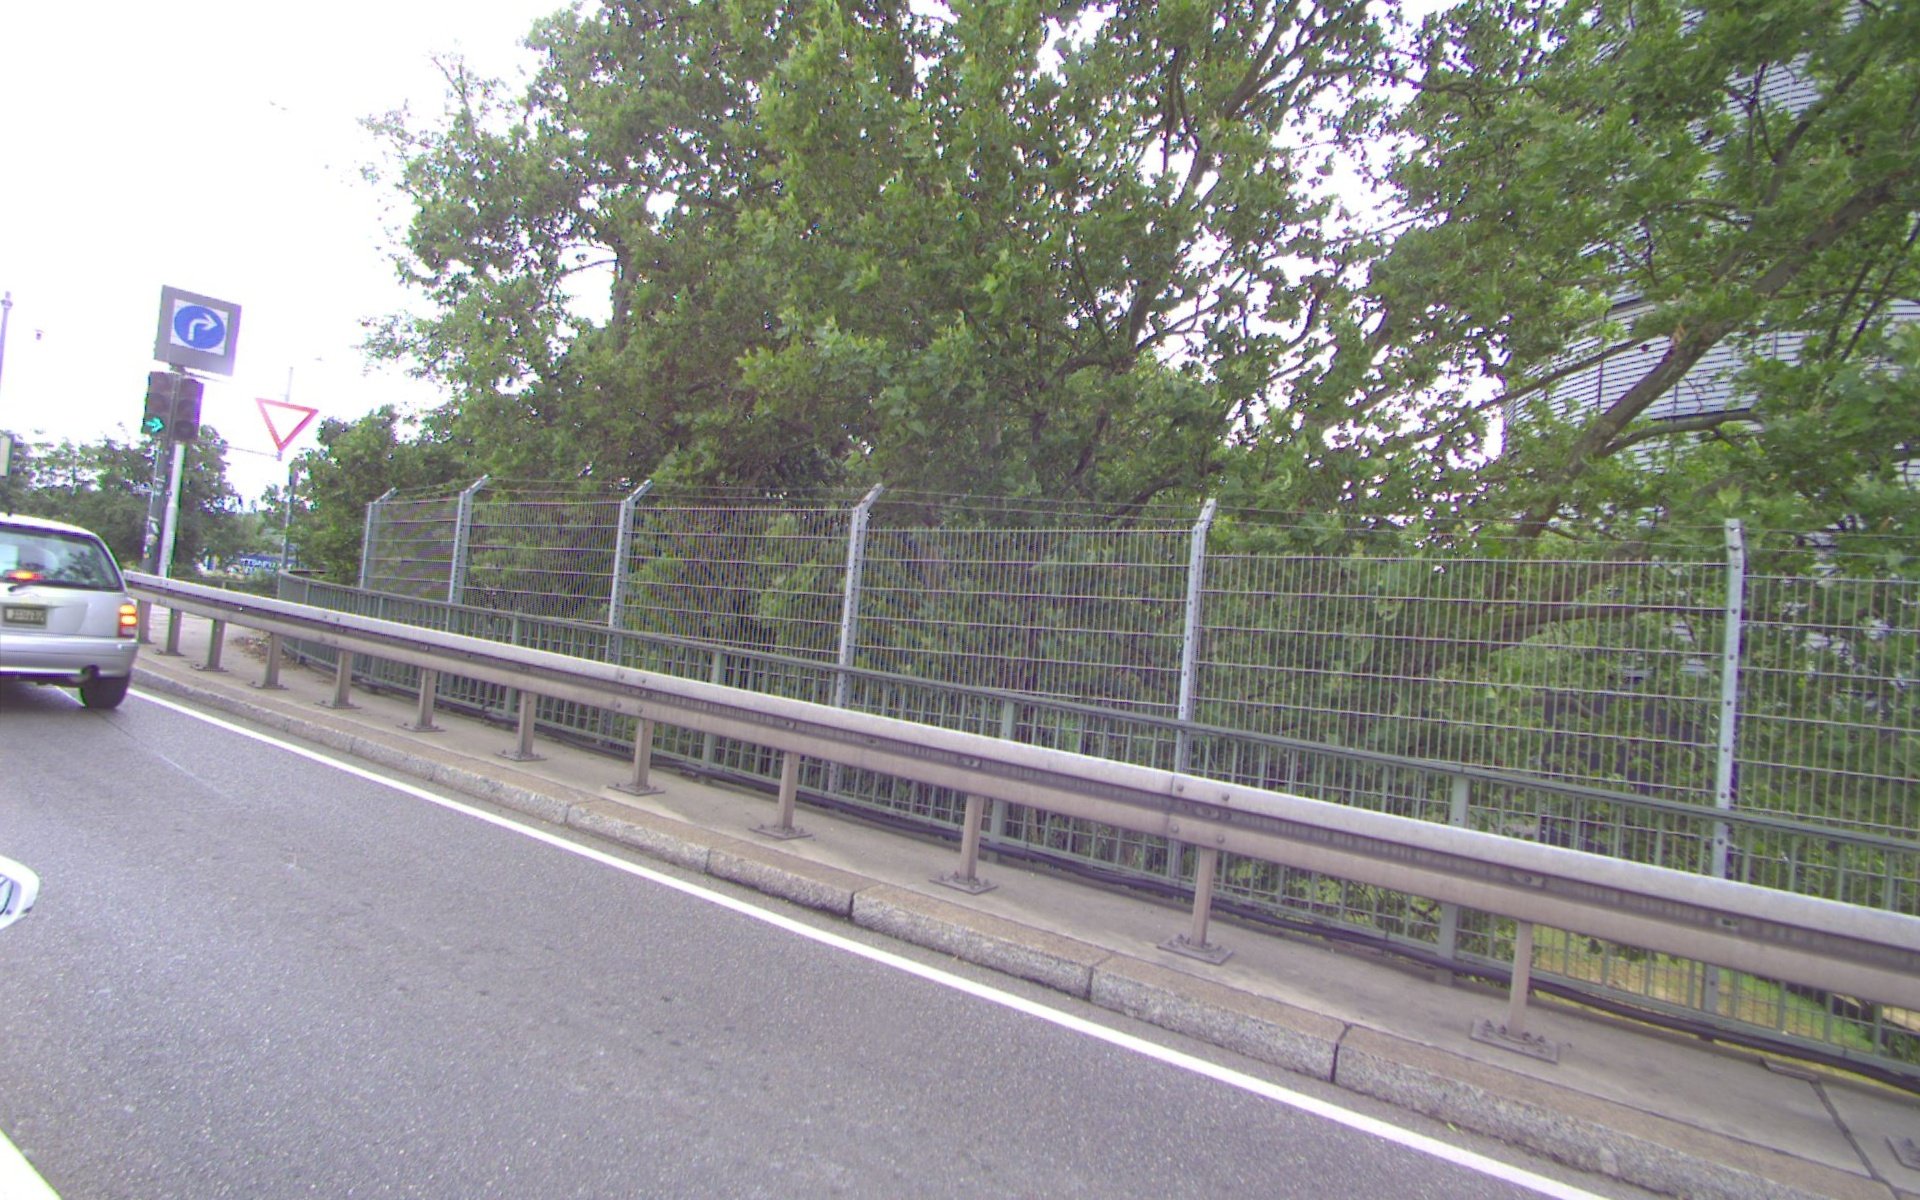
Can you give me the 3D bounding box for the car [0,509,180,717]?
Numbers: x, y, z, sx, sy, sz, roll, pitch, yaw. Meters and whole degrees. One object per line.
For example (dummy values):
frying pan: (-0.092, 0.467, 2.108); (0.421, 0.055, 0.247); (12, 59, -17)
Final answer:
car: (-8.060, -0.043, 8.090); (3.385, 1.448, 1.588); (6, -1, 31)
